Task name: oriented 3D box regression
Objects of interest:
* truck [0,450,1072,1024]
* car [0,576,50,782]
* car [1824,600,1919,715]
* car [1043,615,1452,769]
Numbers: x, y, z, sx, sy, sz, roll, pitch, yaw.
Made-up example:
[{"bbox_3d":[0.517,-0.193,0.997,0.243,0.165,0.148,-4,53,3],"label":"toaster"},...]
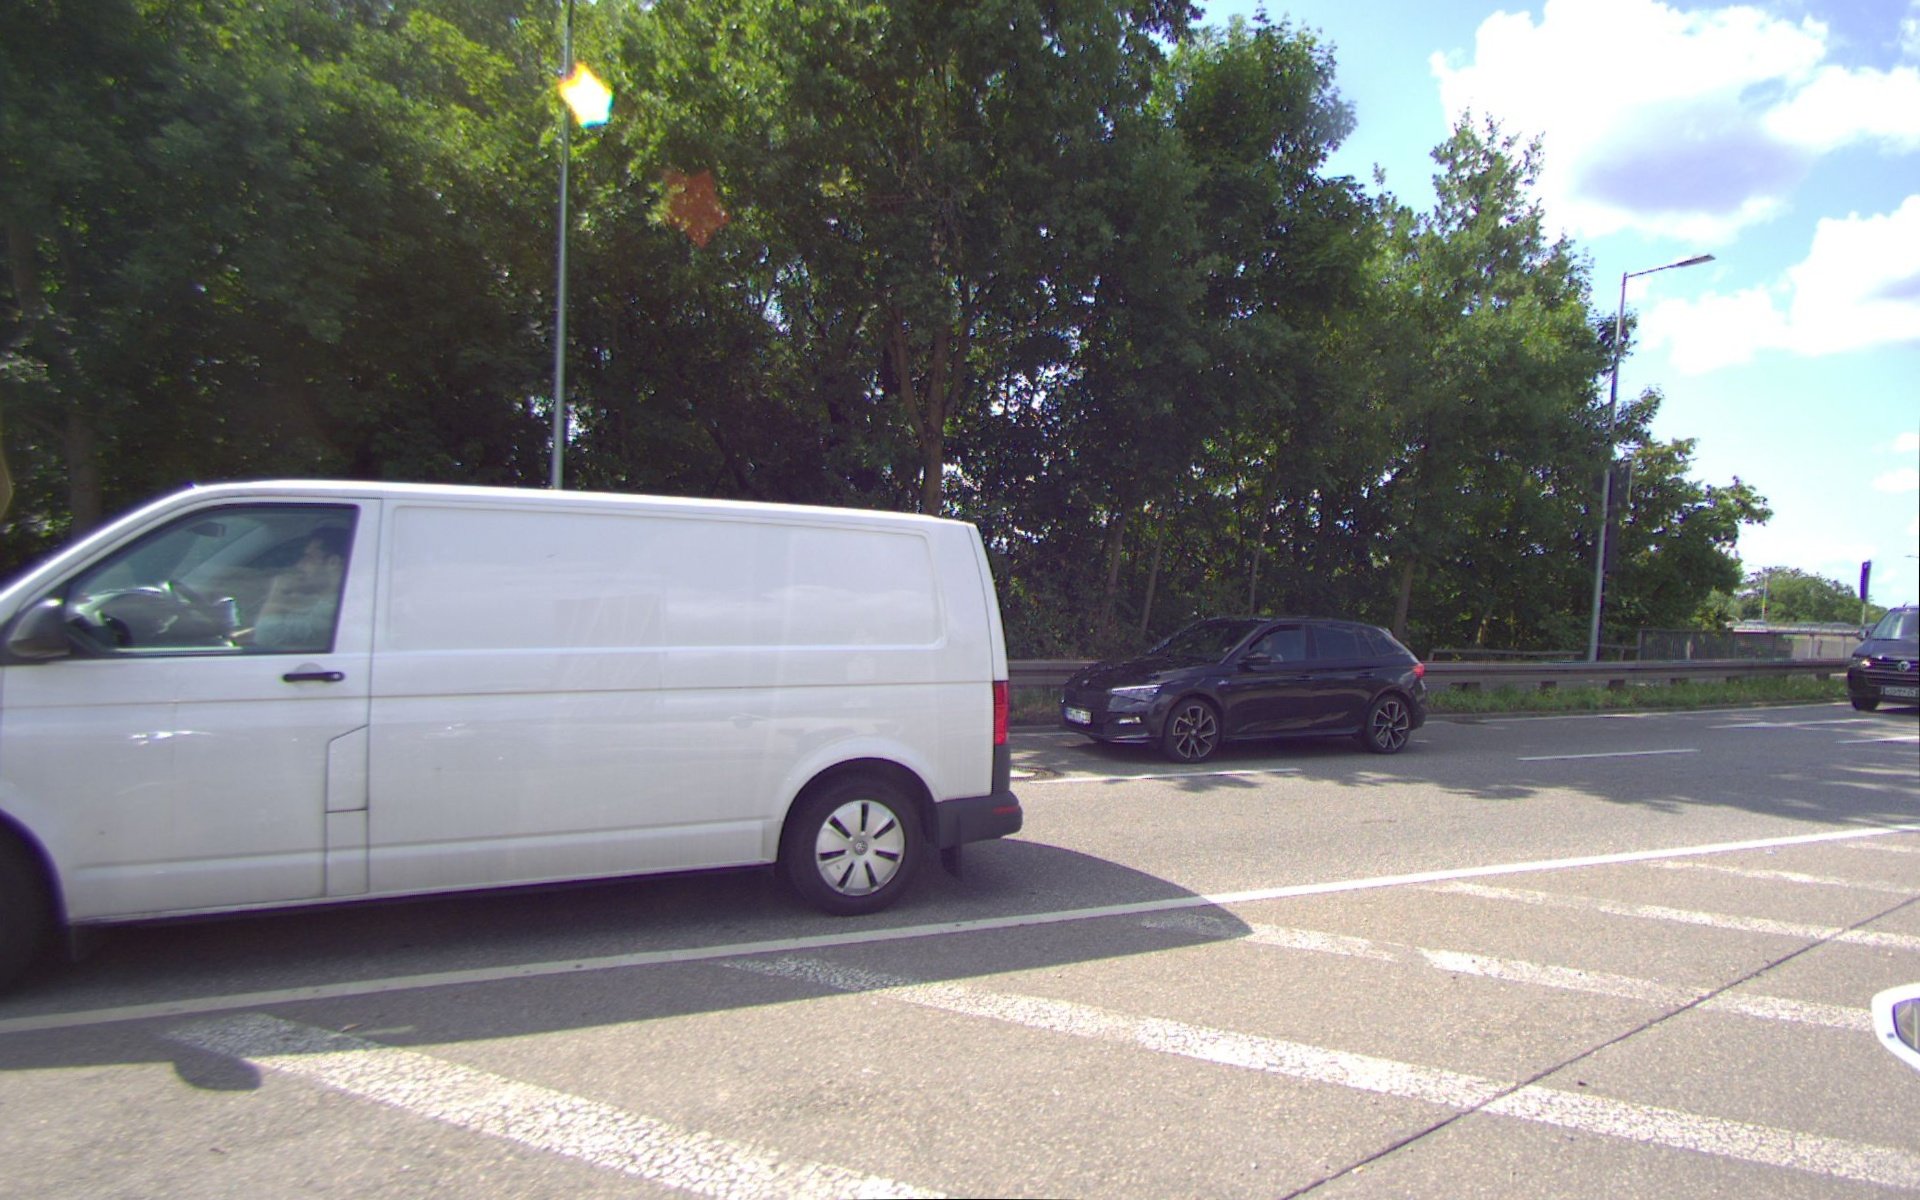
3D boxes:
[{"bbox_3d":[-2.260,0.485,4.891,5.295,1.938,1.955,1,0,-24],"label":"truck"},{"bbox_3d":[-8.726,0.538,6.574,3.764,1.504,1.521,1,0,-20],"label":"car"},{"bbox_3d":[18.309,1.018,18.477,5.068,1.939,1.985,1,0,-28],"label":"car"},{"bbox_3d":[3.179,0.918,11.001,4.278,1.428,1.631,1,-1,-24],"label":"car"}]
